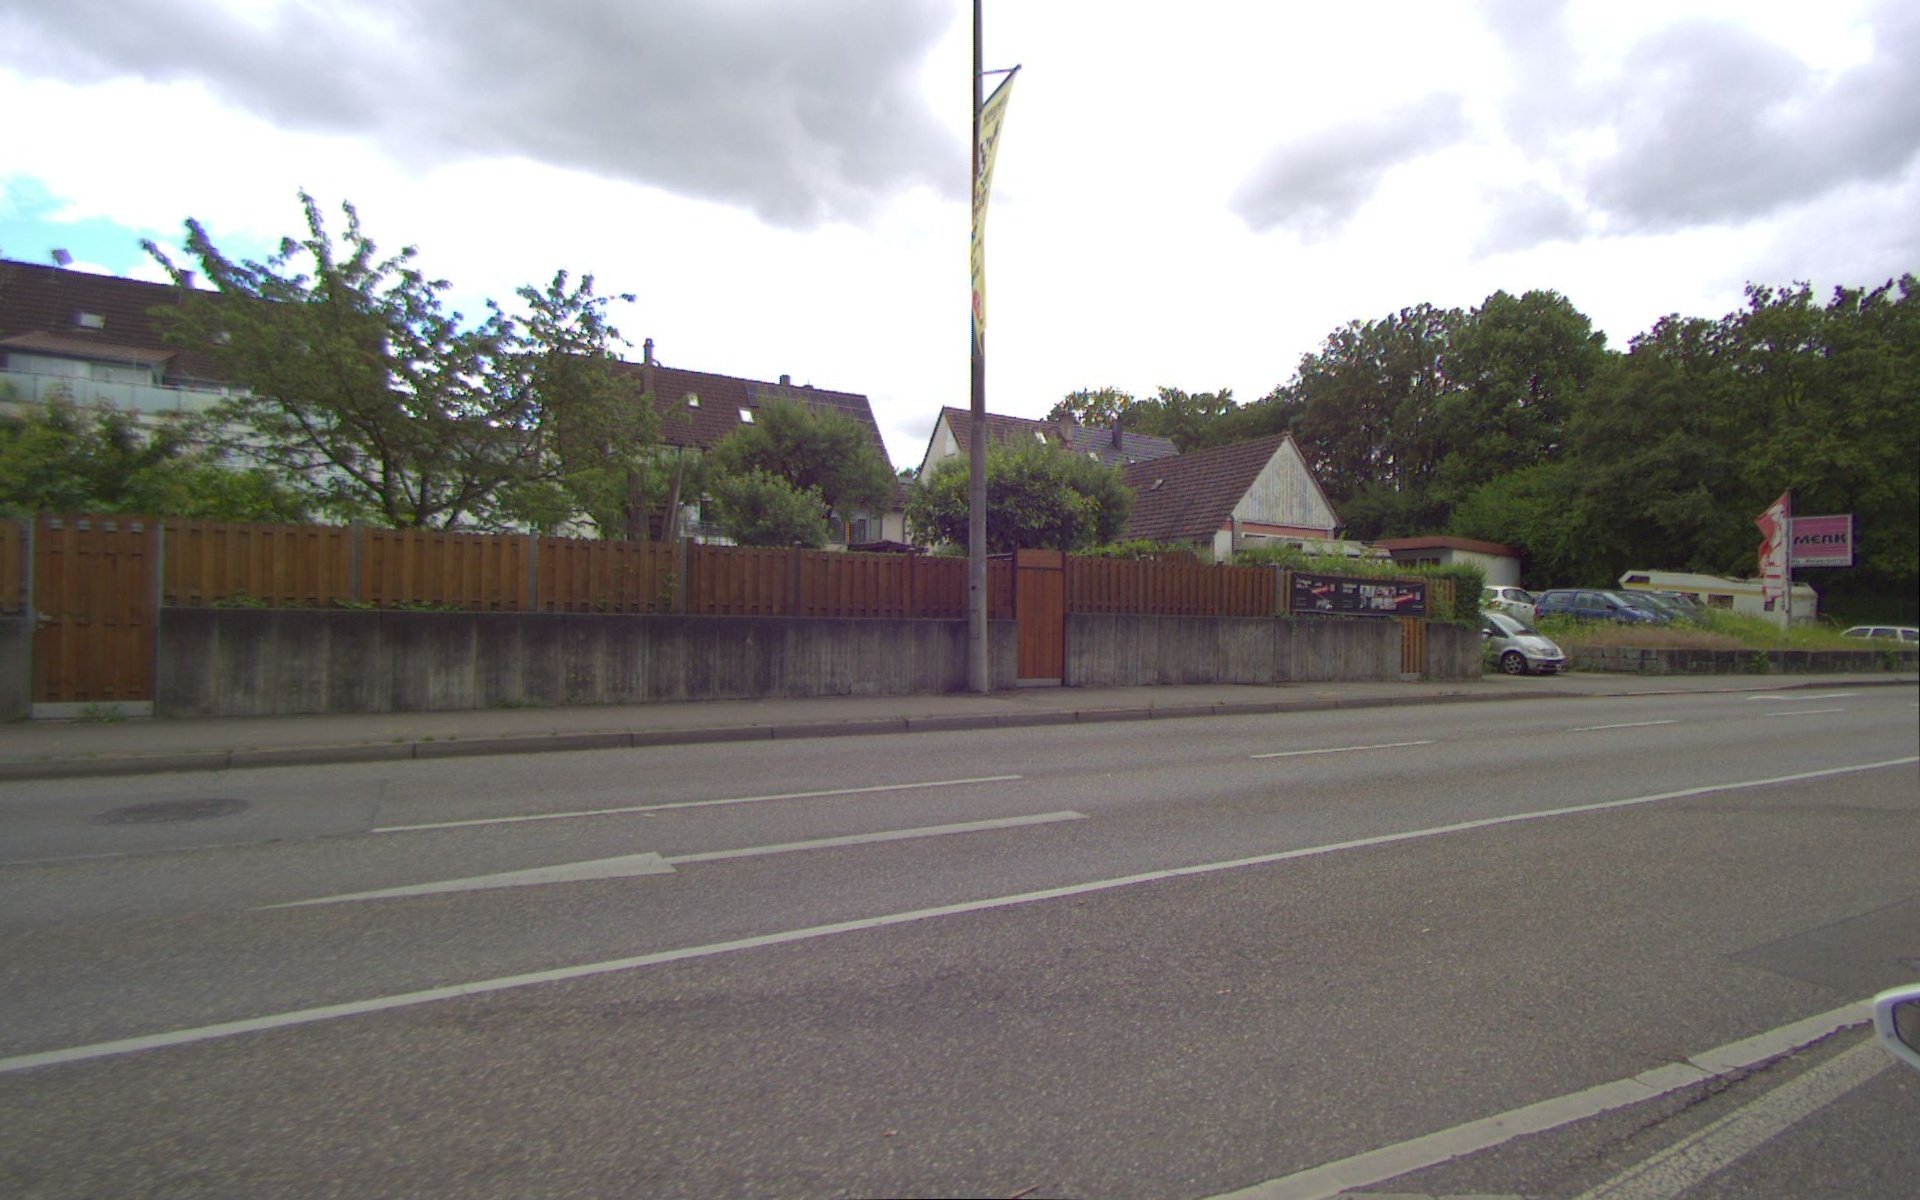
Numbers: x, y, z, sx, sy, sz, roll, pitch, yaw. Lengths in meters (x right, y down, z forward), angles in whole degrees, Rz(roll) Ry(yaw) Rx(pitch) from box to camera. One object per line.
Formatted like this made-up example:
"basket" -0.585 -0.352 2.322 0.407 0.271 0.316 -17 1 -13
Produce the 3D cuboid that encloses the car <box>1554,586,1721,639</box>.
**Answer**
"car" 20.484 0.344 30.551 1.513 1.430 3.973 2 0 -26

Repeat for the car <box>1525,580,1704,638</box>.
"car" 19.028 0.233 29.382 1.835 1.517 3.973 2 0 -26

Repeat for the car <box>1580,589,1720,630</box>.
"car" 26.433 0.337 38.612 1.974 1.388 3.973 2 0 -26

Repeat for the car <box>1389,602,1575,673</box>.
"car" 13.930 0.965 27.029 1.976 1.639 3.968 2 0 -29

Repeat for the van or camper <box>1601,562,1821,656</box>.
"van or camper" 33.045 0.293 44.571 2.764 3.417 7.104 1 4 -30

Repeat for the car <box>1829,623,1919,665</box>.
"car" 36.644 1.708 38.746 1.940 1.460 4.349 1 1 -33

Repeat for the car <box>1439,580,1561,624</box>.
"car" 18.355 0.098 34.109 4.355 1.360 1.836 2 0 -34

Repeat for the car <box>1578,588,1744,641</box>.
"car" 22.032 0.419 31.737 1.626 1.512 3.973 2 0 -26

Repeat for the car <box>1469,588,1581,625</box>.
"car" 23.936 0.252 42.683 1.822 1.419 3.731 2 0 -26

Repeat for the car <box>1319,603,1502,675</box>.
"car" 11.729 0.990 26.409 1.976 1.625 3.968 2 0 -29
